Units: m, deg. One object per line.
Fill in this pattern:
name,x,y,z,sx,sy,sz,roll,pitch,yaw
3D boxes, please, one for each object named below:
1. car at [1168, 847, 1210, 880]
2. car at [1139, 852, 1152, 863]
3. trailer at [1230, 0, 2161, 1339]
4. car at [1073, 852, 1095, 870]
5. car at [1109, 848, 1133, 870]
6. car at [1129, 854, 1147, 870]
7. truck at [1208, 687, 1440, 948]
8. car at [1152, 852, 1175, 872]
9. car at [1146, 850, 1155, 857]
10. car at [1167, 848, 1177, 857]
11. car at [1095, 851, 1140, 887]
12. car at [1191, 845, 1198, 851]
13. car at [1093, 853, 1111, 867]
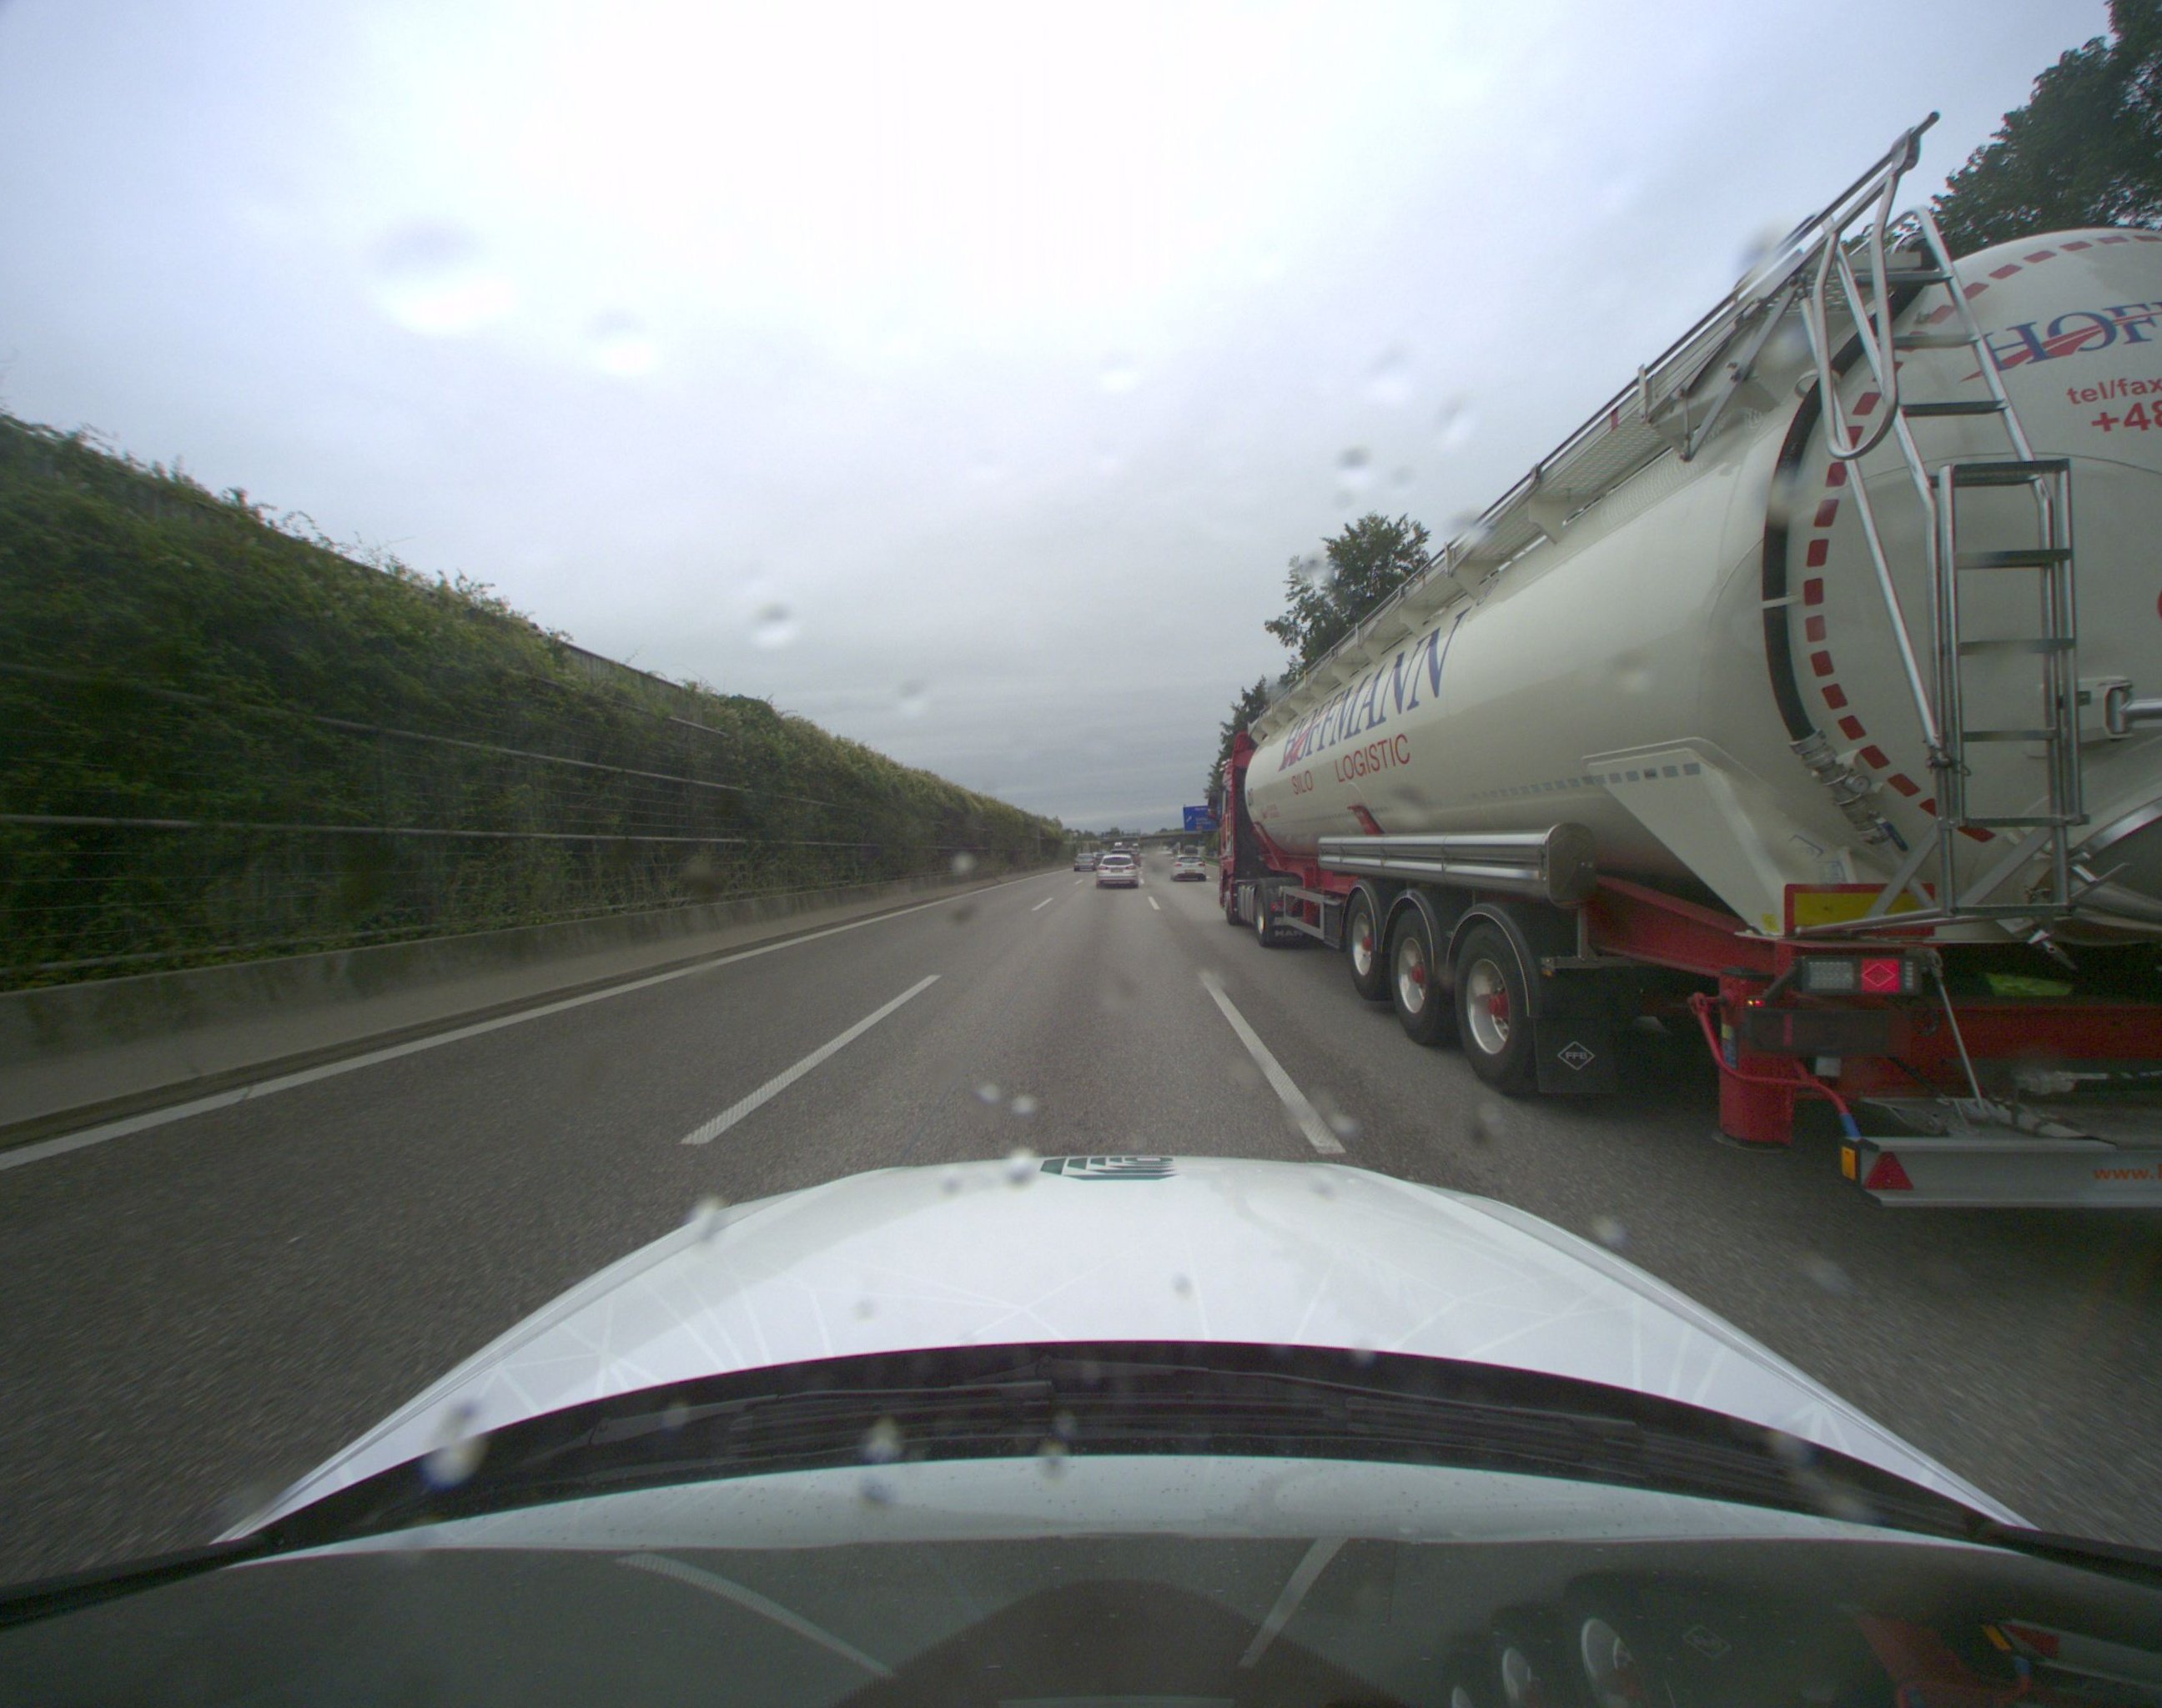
car,5.715,0.471,43.653,1.808,1.625,5.034,1,0,3
car,11.214,0.633,140.560,1.779,1.779,3.882,-3,0,10
trailer,3.949,-0.615,8.941,2.657,3.938,13.138,-2,0,2
car,0.275,0.633,69.839,1.713,1.469,5.032,-2,-1,2
car,3.006,0.338,61.751,1.683,1.506,3.873,2,1,1
car,5.927,0.843,84.402,1.680,1.506,3.878,2,1,6
truck,4.224,-0.573,15.729,2.684,3.912,6.561,-2,0,3
car,6.421,0.612,63.721,1.681,1.506,3.877,-2,0,5
car,14.714,-0.111,173.023,1.682,1.539,3.874,-2,0,2
car,17.002,-0.296,152.227,1.678,1.539,3.882,-2,0,10
car,1.574,0.634,36.711,1.885,1.504,5.030,0,0,1
car,30.997,-1.593,222.688,1.679,1.422,3.881,-2,0,8
car,2.371,0.696,92.284,1.712,1.512,5.036,-2,0,4
